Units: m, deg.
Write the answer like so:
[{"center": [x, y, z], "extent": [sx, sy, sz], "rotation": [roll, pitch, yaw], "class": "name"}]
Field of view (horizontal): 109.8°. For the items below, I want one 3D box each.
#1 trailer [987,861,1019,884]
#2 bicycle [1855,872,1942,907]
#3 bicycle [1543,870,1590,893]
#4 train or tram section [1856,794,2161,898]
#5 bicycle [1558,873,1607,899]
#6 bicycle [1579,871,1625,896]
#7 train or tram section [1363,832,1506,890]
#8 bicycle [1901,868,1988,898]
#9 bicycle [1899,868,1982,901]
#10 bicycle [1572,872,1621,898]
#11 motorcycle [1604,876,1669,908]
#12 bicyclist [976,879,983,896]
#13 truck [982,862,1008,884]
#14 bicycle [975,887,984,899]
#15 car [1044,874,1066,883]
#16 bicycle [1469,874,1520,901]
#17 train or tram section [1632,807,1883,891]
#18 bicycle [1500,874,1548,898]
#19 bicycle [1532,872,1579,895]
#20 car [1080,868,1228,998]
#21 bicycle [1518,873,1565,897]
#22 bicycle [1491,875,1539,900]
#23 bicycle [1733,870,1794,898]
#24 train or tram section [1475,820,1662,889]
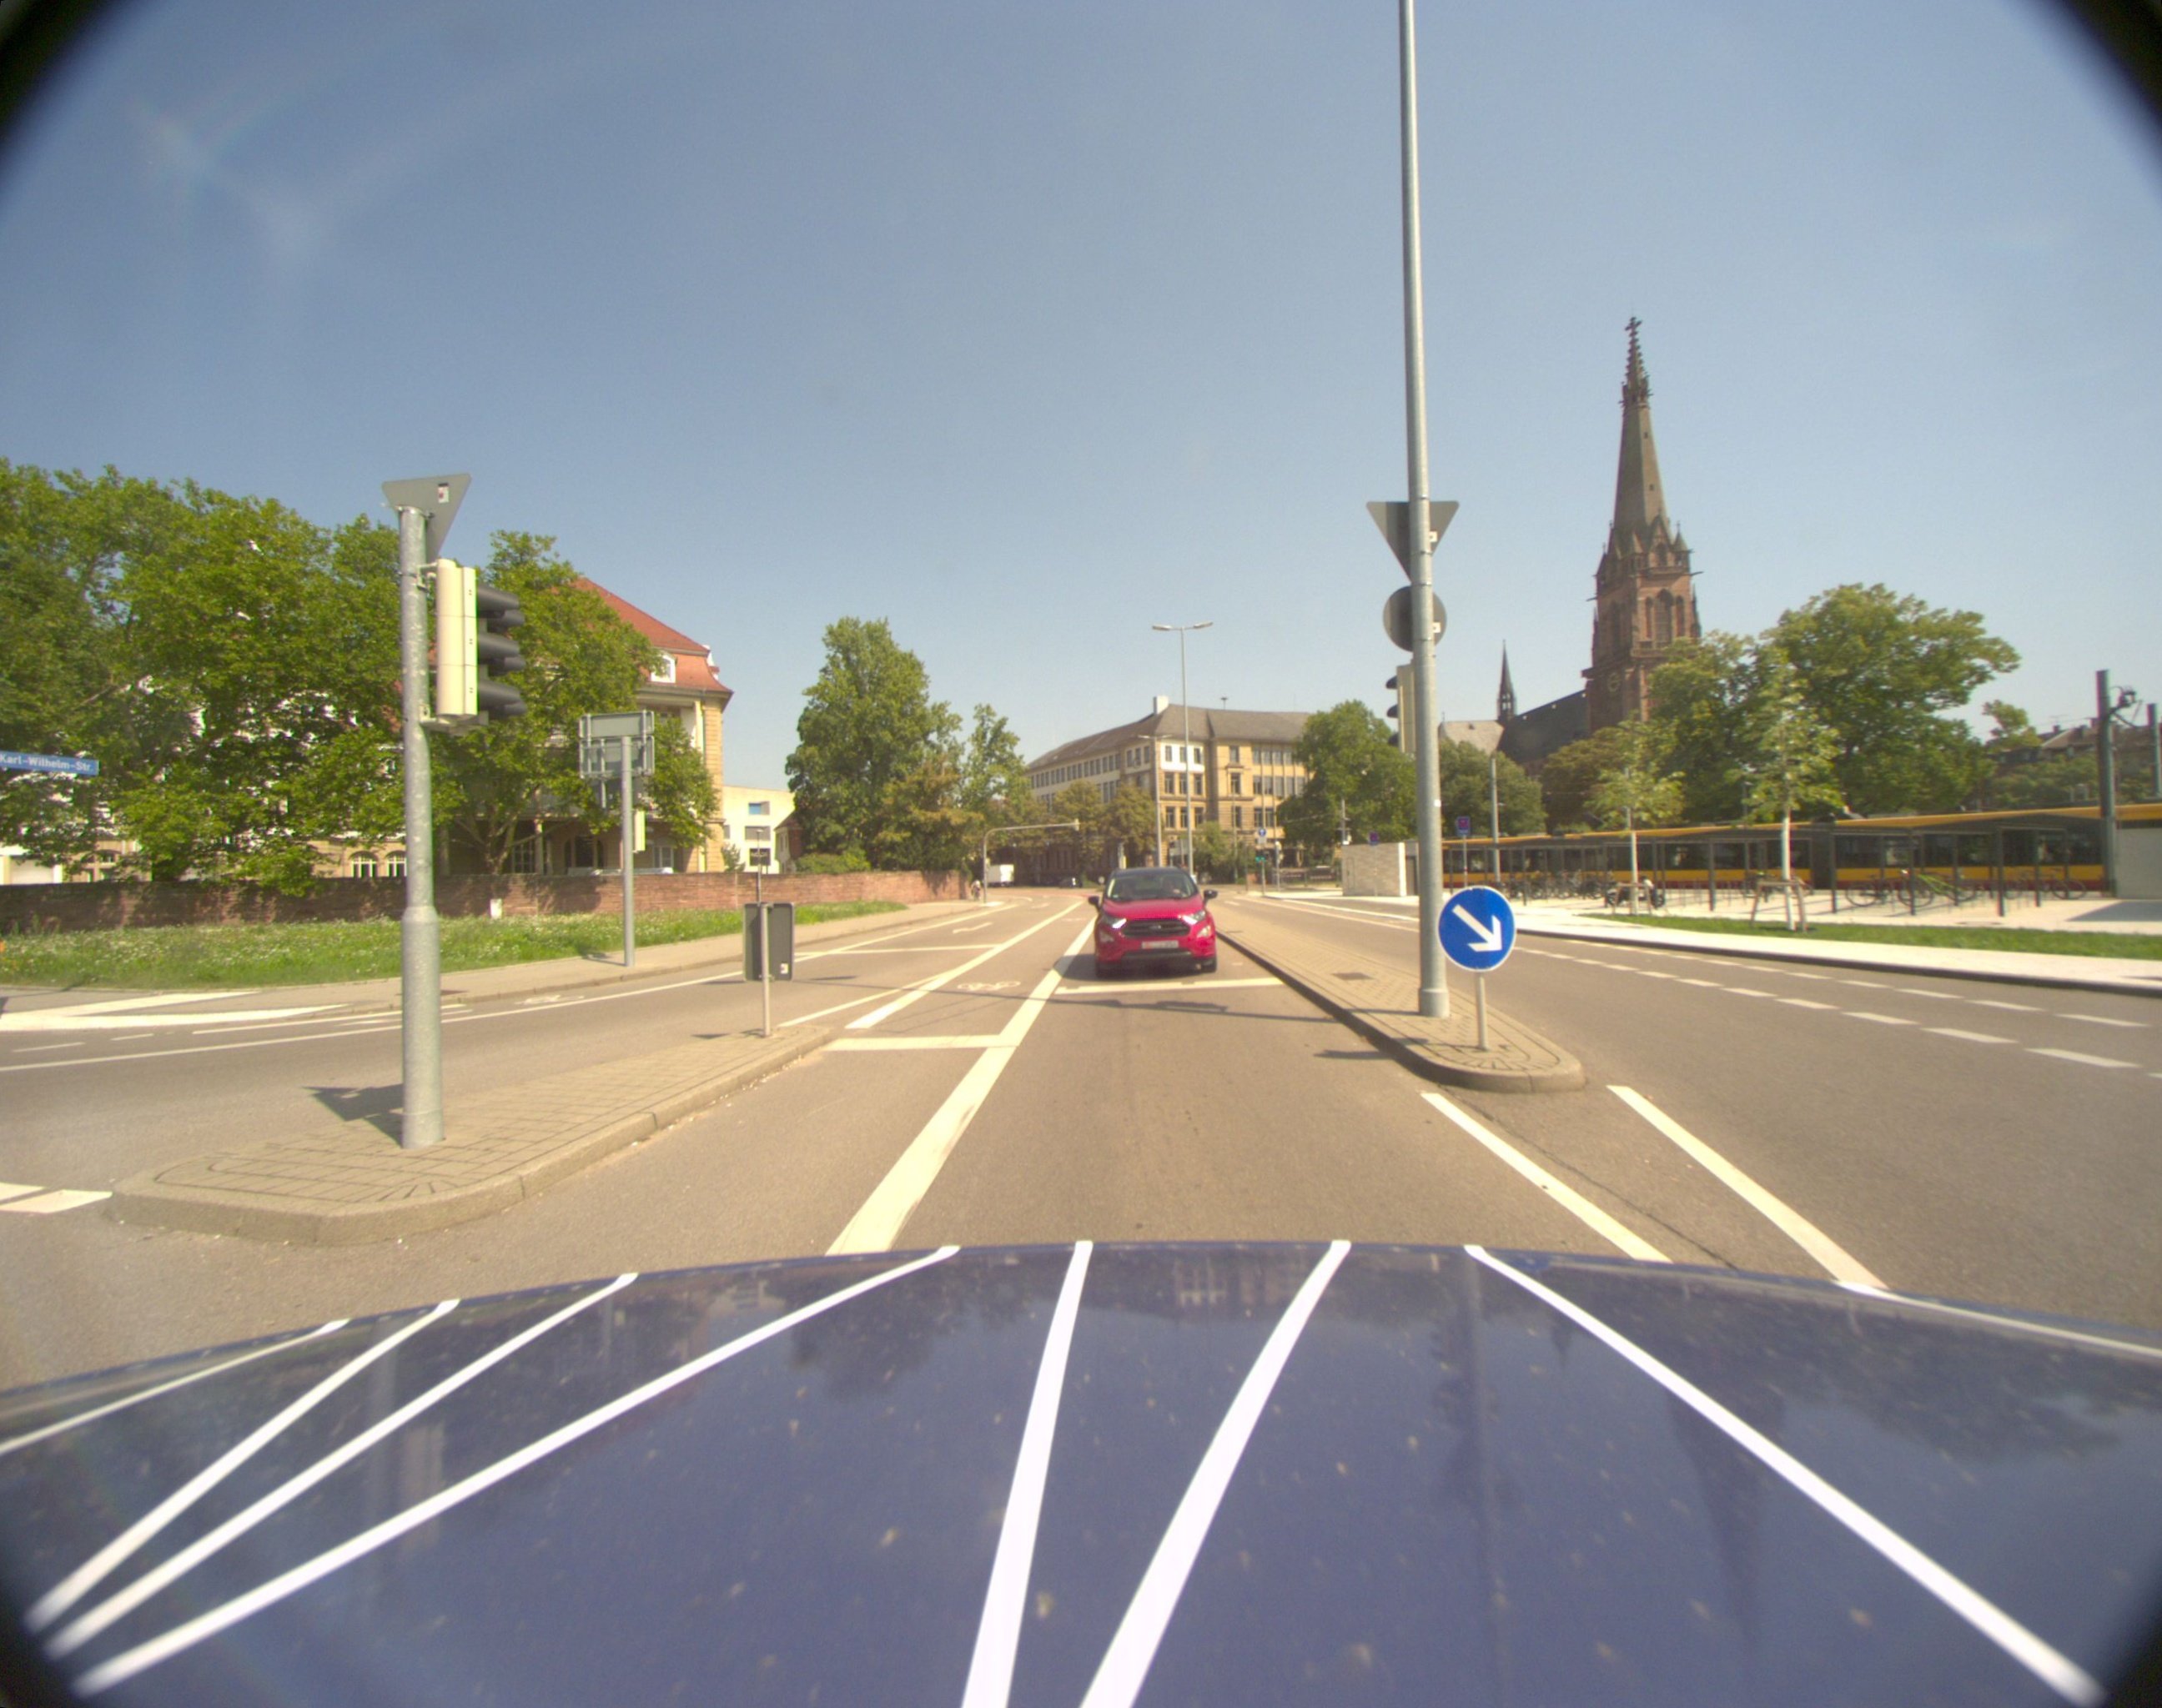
[{"center": [-11.471, 2.793, 111.651], "extent": [2.446, 3.268, 5.077], "rotation": [-1, -1, -34], "class": "trailer"}, {"center": [24.609, 1.064, 22.905], "extent": [0.514, 1.034, 1.730], "rotation": [0, -2, -38], "class": "bicycle"}, {"center": [22.640, 1.291, 35.472], "extent": [0.528, 1.034, 1.766], "rotation": [-1, -1, -29], "class": "bicycle"}, {"center": [36.920, -0.116, 29.991], "extent": [3.167, 3.575, 8.229], "rotation": [0, -3, -32], "class": "train or tram section"}, {"center": [20.759, 1.317, 31.484], "extent": [0.413, 1.034, 1.637], "rotation": [-1, -1, -29], "class": "bicycle"}, {"center": [22.668, 1.275, 33.088], "extent": [0.413, 1.034, 1.637], "rotation": [-1, -1, -29], "class": "bicycle"}, {"center": [23.688, 0.600, 51.482], "extent": [3.143, 3.538, 8.311], "rotation": [0, -3, -32], "class": "train or tram section"}, {"center": [28.919, 0.979, 25.482], "extent": [0.514, 0.979, 1.853], "rotation": [-1, -2, -33], "class": "bicycle"}, {"center": [27.658, 0.987, 24.494], "extent": [0.514, 1.034, 1.730], "rotation": [0, -2, -44], "class": "bicycle"}, {"center": [21.656, 1.299, 31.944], "extent": [0.413, 1.034, 1.637], "rotation": [-1, -1, -29], "class": "bicycle"}, {"center": [19.446, 1.331, 26.621], "extent": [0.492, 1.062, 1.776], "rotation": [-1, -1, -29], "class": "motorcycle"}, {"center": [-7.855, 2.581, 58.553], "extent": [0.433, 1.225, 0.541], "rotation": [-2, -1, 1], "class": "bicyclist"}, {"center": [-12.938, 2.890, 113.873], "extent": [2.434, 3.268, 3.419], "rotation": [-1, -1, -34], "class": "truck"}, {"center": [-7.846, 3.007, 58.493], "extent": [0.437, 0.807, 1.486], "rotation": [-2, -1, 1], "class": "bicycle"}, {"center": [-3.788, 3.635, 112.507], "extent": [3.064, 1.169, 1.248], "rotation": [-1, -1, -36], "class": "car"}, {"center": [17.519, 1.422, 32.246], "extent": [0.528, 1.075, 1.861], "rotation": [-1, -1, -29], "class": "bicycle"}, {"center": [32.544, -0.029, 37.097], "extent": [3.167, 3.575, 8.508], "rotation": [0, -3, -32], "class": "train or tram section"}, {"center": [19.261, 1.388, 33.053], "extent": [0.528, 1.034, 1.766], "rotation": [-1, -1, -29], "class": "bicycle"}, {"center": [21.712, 1.342, 34.775], "extent": [0.528, 1.034, 1.766], "rotation": [-1, -1, -29], "class": "bicycle"}, {"center": [1.056, 1.079, 11.845], "extent": [1.844, 1.604, 4.002], "rotation": [-3, -1, 3], "class": "car"}, {"center": [20.592, 1.393, 34.022], "extent": [0.528, 1.034, 1.766], "rotation": [-1, -1, -29], "class": "bicycle"}, {"center": [18.659, 1.442, 32.684], "extent": [0.528, 1.034, 1.766], "rotation": [-1, -1, -29], "class": "bicycle"}, {"center": [25.518, 1.114, 28.432], "extent": [0.413, 1.034, 1.637], "rotation": [-1, -1, -29], "class": "bicycle"}, {"center": [28.096, 0.190, 44.335], "extent": [3.167, 3.575, 8.508], "rotation": [0, -3, -32], "class": "train or tram section"}]
